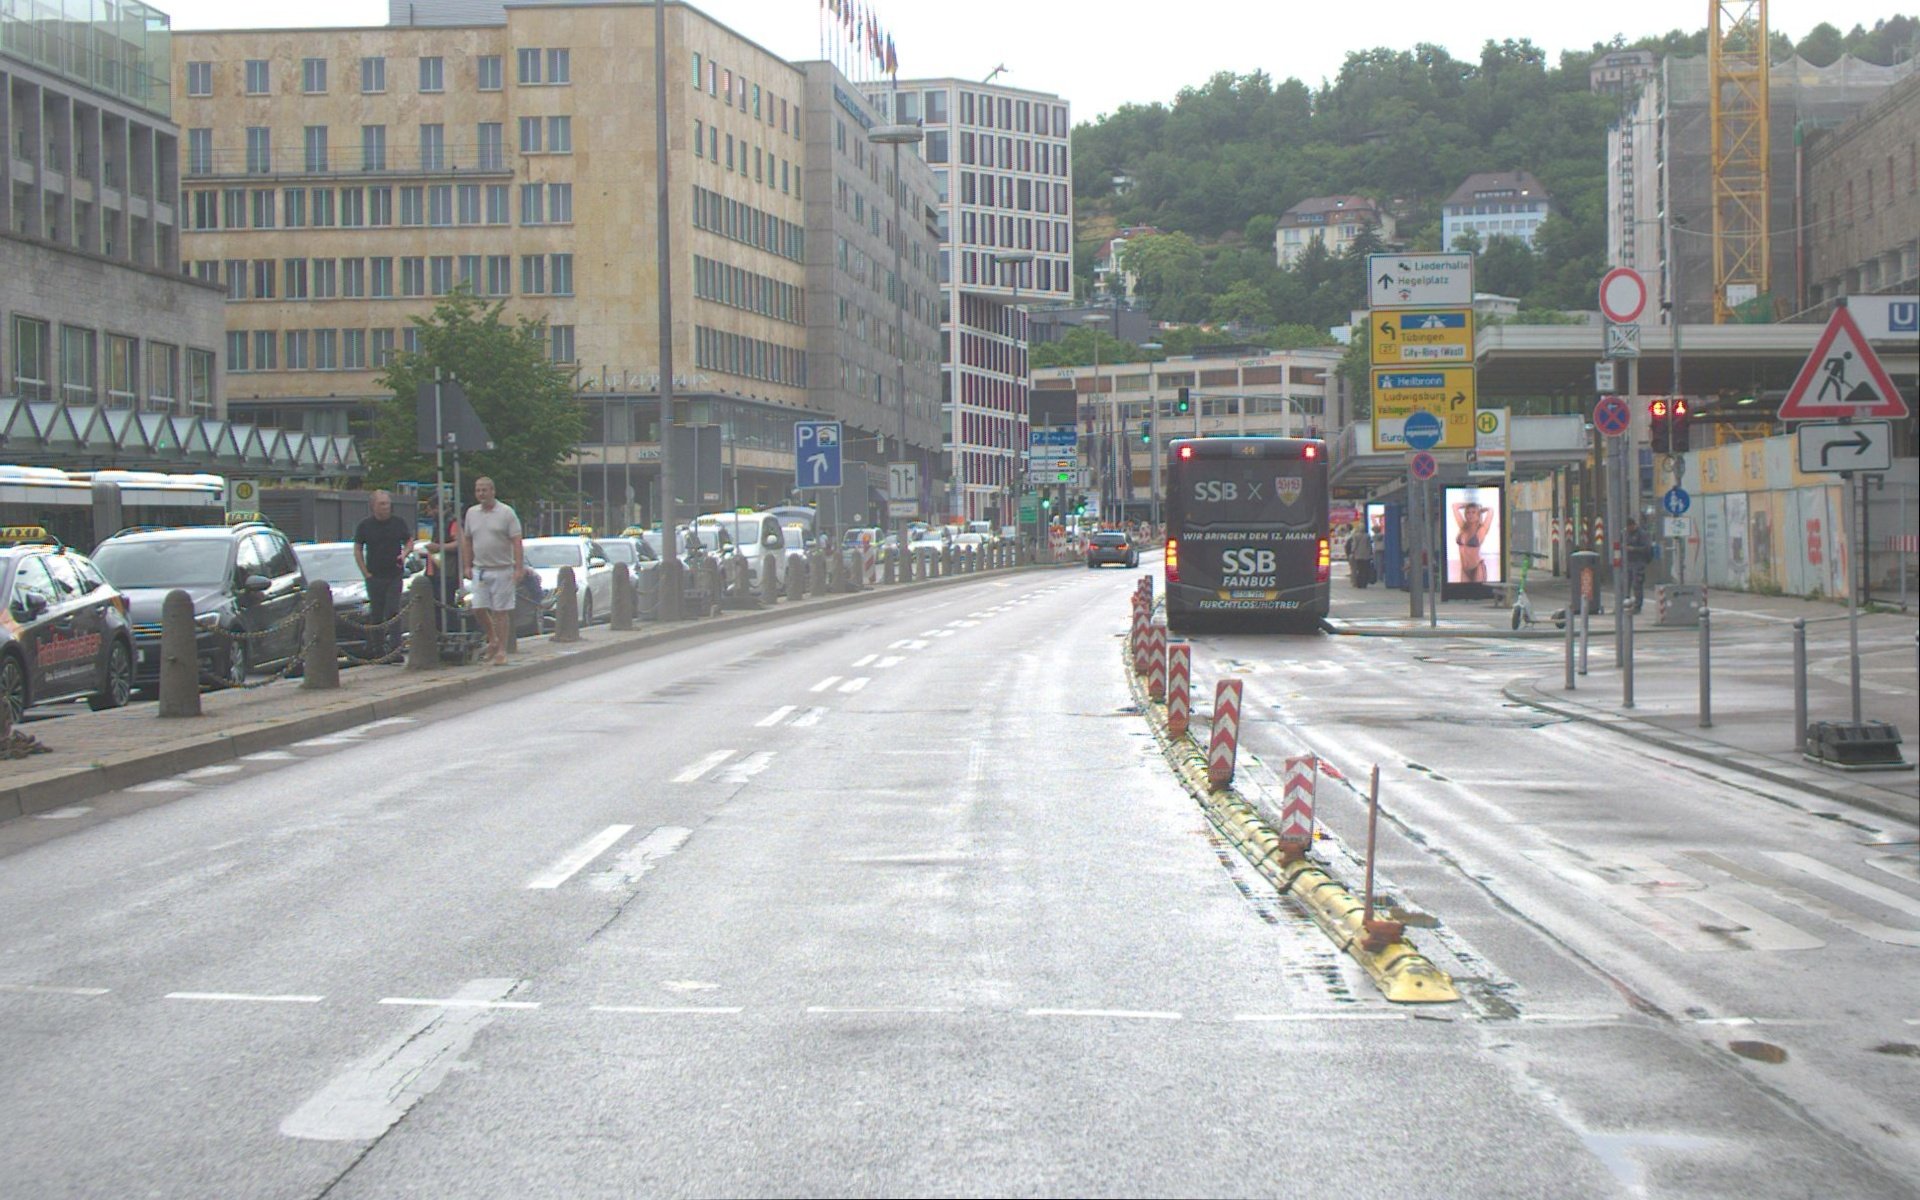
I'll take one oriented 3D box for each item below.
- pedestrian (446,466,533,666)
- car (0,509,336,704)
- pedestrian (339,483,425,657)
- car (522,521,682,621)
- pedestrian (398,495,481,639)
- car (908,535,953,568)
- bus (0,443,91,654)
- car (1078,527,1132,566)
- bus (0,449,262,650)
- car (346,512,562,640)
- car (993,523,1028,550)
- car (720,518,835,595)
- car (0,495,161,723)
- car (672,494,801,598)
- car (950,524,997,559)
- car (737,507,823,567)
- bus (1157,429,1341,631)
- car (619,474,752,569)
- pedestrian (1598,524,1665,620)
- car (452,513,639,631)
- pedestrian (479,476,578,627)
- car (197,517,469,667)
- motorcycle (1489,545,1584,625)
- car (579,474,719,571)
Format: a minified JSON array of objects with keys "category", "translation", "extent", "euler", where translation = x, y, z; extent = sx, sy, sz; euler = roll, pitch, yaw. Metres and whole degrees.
[{"category":"pedestrian","translation":[-4.765,-0.353,34.850],"extent":[0.723,2.001,0.772],"euler":[1,2,3]},{"category":"car","translation":[-7.555,0.011,33.186],"extent":[1.930,1.684,4.682],"euler":[-2,1,3]},{"category":"pedestrian","translation":[-5.876,-0.314,34.954],"extent":[0.698,1.748,0.711],"euler":[0,1,4]},{"category":"car","translation":[-6.053,-0.522,58.616],"extent":[1.930,1.571,5.052],"euler":[-2,1,3]},{"category":"pedestrian","translation":[-5.899,-0.385,38.975],"extent":[0.723,1.601,0.996],"euler":[1,2,3]},{"category":"car","translation":[-1.527,-2.545,179.748],"extent":[1.962,1.559,4.835],"euler":[-3,2,4]},{"category":"bus","translation":[-16.810,-0.787,54.167],"extent":[2.878,3.365,10.573],"euler":[0,1,4]},{"category":"car","translation":[5.946,-2.185,140.483],"extent":[1.994,1.546,3.999],"euler":[-1,1,5]},{"category":"bus","translation":[-16.001,-1.007,64.645],"extent":[2.878,3.448,10.573],"euler":[0,1,4]},{"category":"car","translation":[-6.801,-0.354,46.701],"extent":[1.930,1.571,5.012],"euler":[-2,1,3]},{"category":"car","translation":[3.282,-4.098,222.302],"extent":[1.962,1.559,4.835],"euler":[-3,2,4]},{"category":"car","translation":[-4.259,-1.052,80.929],"extent":[1.994,1.716,4.781],"euler":[-1,1,5]},{"category":"car","translation":[-7.985,0.066,27.274],"extent":[1.930,1.684,4.682],"euler":[-2,1,3]},{"category":"car","translation":[-4.865,-1.207,75.549],"extent":[1.994,2.171,5.543],"euler":[-1,1,5]},{"category":"car","translation":[0.687,-2.919,171.466],"extent":[1.962,1.559,4.835],"euler":[-3,2,4]},{"category":"car","translation":[-4.863,-1.709,93.410],"extent":[1.993,1.546,4.000],"euler":[-1,1,1]},{"category":"bus","translation":[4.729,-1.156,56.985],"extent":[2.755,3.058,9.079],"euler":[1,1,4]},{"category":"car","translation":[-5.532,-1.590,69.823],"extent":[1.930,1.800,4.582],"euler":[-2,1,5]},{"category":"pedestrian","translation":[11.518,-0.484,58.969],"extent":[0.908,1.629,0.827],"euler":[0,1,31]},{"category":"car","translation":[-6.302,-0.459,52.831],"extent":[1.976,1.653,5.192],"euler":[-2,1,3]},{"category":"pedestrian","translation":[-5.096,-0.568,40.622],"extent":[1.050,1.762,0.616],"euler":[0,1,3]},{"category":"car","translation":[-7.229,-0.135,40.199],"extent":[1.930,1.571,5.261],"euler":[-2,1,3]},{"category":"motorcycle","translation":[8.586,-0.225,51.181],"extent":[0.586,1.162,1.613],"euler":[2,1,43]},{"category":"car","translation":[-5.810,-1.445,64.827],"extent":[1.930,1.693,4.885],"euler":[-2,1,3]}]
